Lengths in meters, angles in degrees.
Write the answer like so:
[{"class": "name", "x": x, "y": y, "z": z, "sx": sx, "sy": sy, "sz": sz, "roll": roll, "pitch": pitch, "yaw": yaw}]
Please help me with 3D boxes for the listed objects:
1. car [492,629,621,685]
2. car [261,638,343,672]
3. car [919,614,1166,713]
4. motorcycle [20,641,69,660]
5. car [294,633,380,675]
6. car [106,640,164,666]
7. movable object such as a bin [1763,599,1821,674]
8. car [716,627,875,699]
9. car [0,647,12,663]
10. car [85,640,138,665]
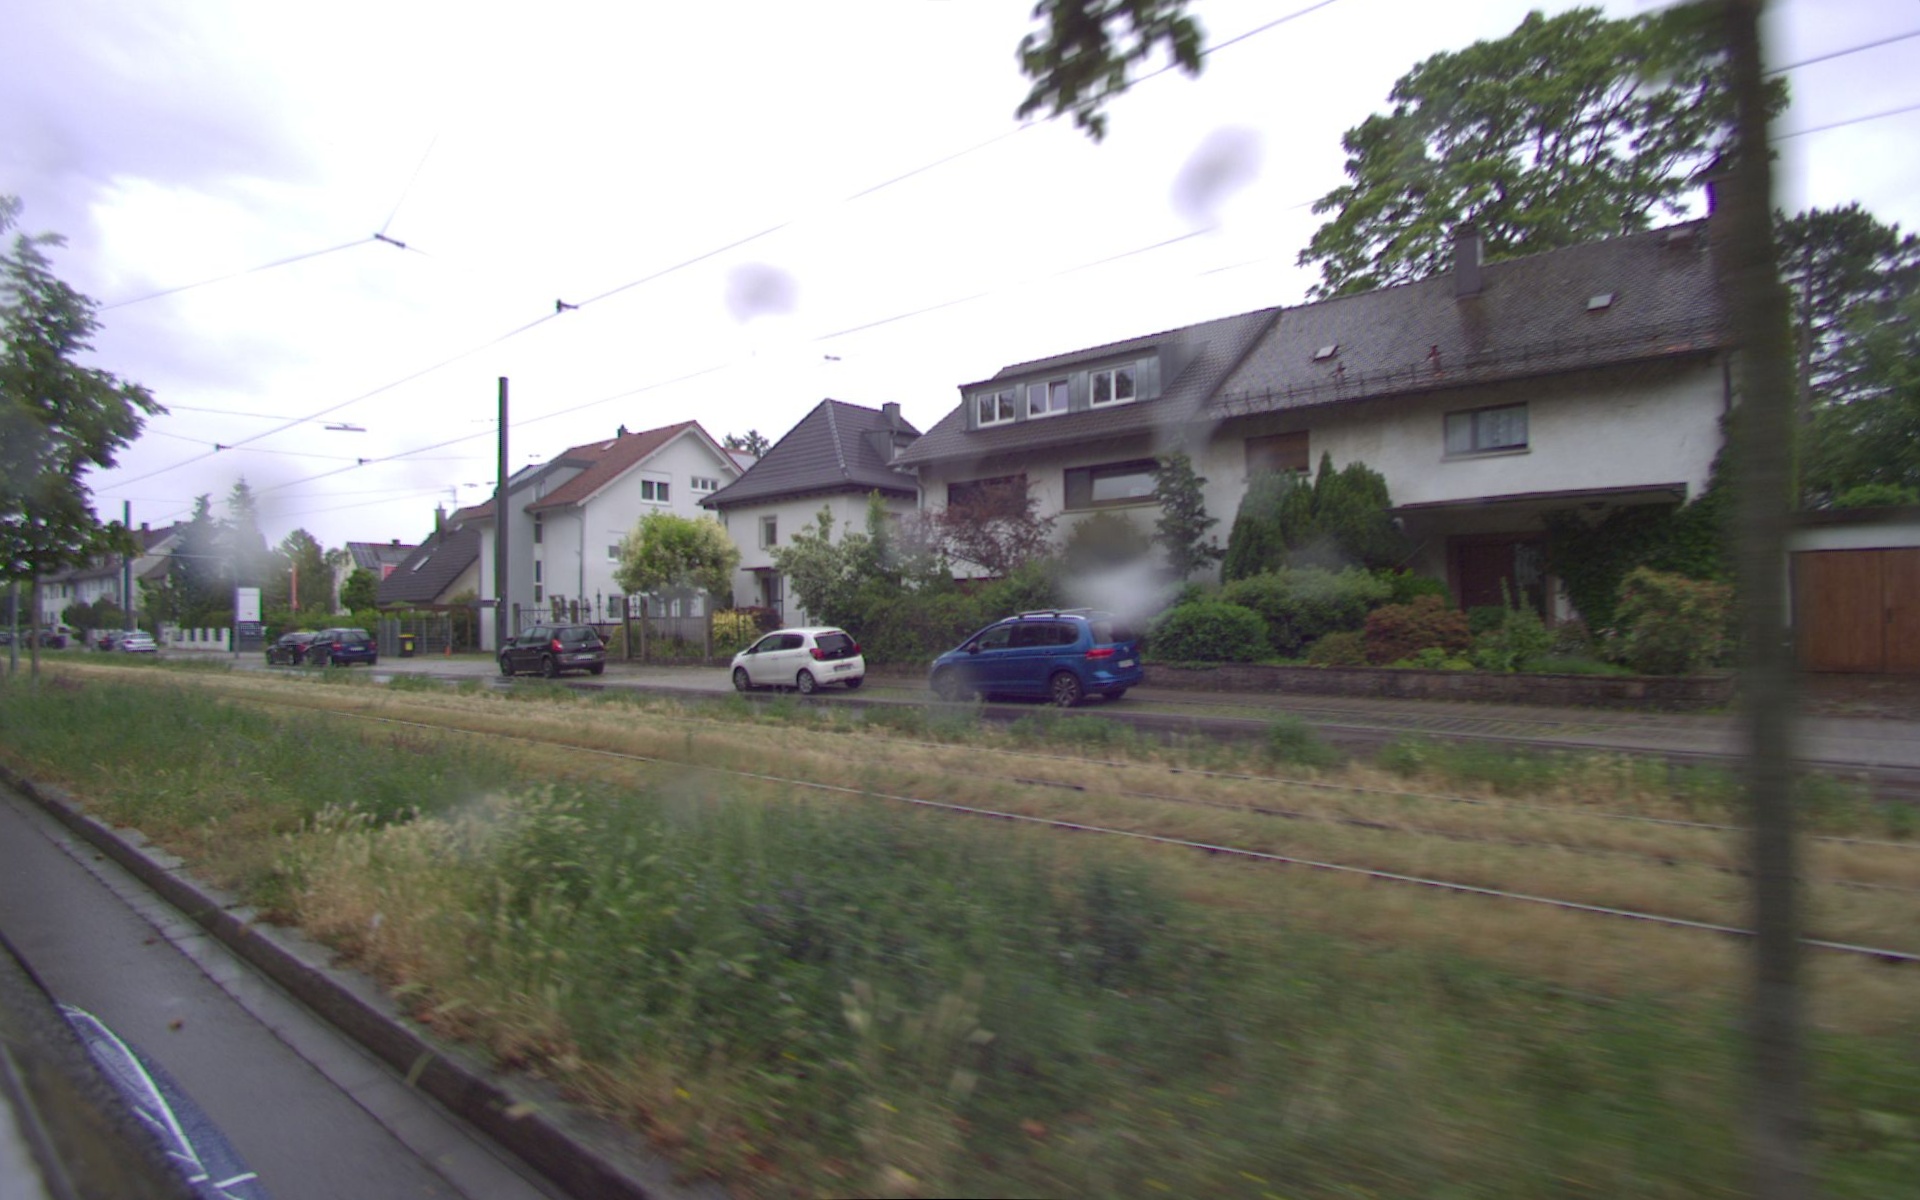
[{"class": "car", "x": -12.556, "y": 1.746, "z": 31.391, "sx": 4.202, "sy": 1.528, "sz": 1.973, "roll": -3, "pitch": 0, "yaw": 40}, {"class": "car", "x": -29.661, "y": 2.465, "z": 45.571, "sx": 4.237, "sy": 1.361, "sz": 1.973, "roll": -3, "pitch": 0, "yaw": 40}, {"class": "car", "x": 1.510, "y": 1.177, "z": 19.534, "sx": 4.410, "sy": 1.626, "sz": 1.973, "roll": -3, "pitch": 0, "yaw": 40}, {"class": "motorcycle", "x": -72.857, "y": 4.013, "z": 80.554, "sx": 2.644, "sy": 1.421, "sz": 1.269, "roll": -1, "pitch": 0, "yaw": -9}, {"class": "car", "x": -26.135, "y": 2.254, "z": 42.414, "sx": 3.865, "sy": 1.562, "sz": 1.856, "roll": -3, "pitch": 0, "yaw": 39}, {"class": "car", "x": -52.084, "y": 3.341, "z": 63.873, "sx": 3.966, "sy": 1.421, "sz": 1.974, "roll": -3, "pitch": 0, "yaw": 38}, {"class": "movable object such as a bin", "x": 15.179, "y": 0.658, "z": 18.460, "sx": 0.771, "sy": 1.304, "sz": 0.801, "roll": -1, "pitch": 1, "yaw": 41}, {"class": "car", "x": -3.917, "y": 1.457, "z": 23.895, "sx": 3.594, "sy": 1.500, "sz": 1.778, "roll": -3, "pitch": 0, "yaw": 40}, {"class": "car", "x": -90.047, "y": 5.128, "z": 94.294, "sx": 4.758, "sy": 1.421, "sz": 1.973, "roll": -3, "pitch": 0, "yaw": 40}, {"class": "car", "x": -56.185, "y": 3.472, "z": 66.977, "sx": 4.528, "sy": 1.466, "sz": 1.973, "roll": -3, "pitch": 0, "yaw": 40}]
